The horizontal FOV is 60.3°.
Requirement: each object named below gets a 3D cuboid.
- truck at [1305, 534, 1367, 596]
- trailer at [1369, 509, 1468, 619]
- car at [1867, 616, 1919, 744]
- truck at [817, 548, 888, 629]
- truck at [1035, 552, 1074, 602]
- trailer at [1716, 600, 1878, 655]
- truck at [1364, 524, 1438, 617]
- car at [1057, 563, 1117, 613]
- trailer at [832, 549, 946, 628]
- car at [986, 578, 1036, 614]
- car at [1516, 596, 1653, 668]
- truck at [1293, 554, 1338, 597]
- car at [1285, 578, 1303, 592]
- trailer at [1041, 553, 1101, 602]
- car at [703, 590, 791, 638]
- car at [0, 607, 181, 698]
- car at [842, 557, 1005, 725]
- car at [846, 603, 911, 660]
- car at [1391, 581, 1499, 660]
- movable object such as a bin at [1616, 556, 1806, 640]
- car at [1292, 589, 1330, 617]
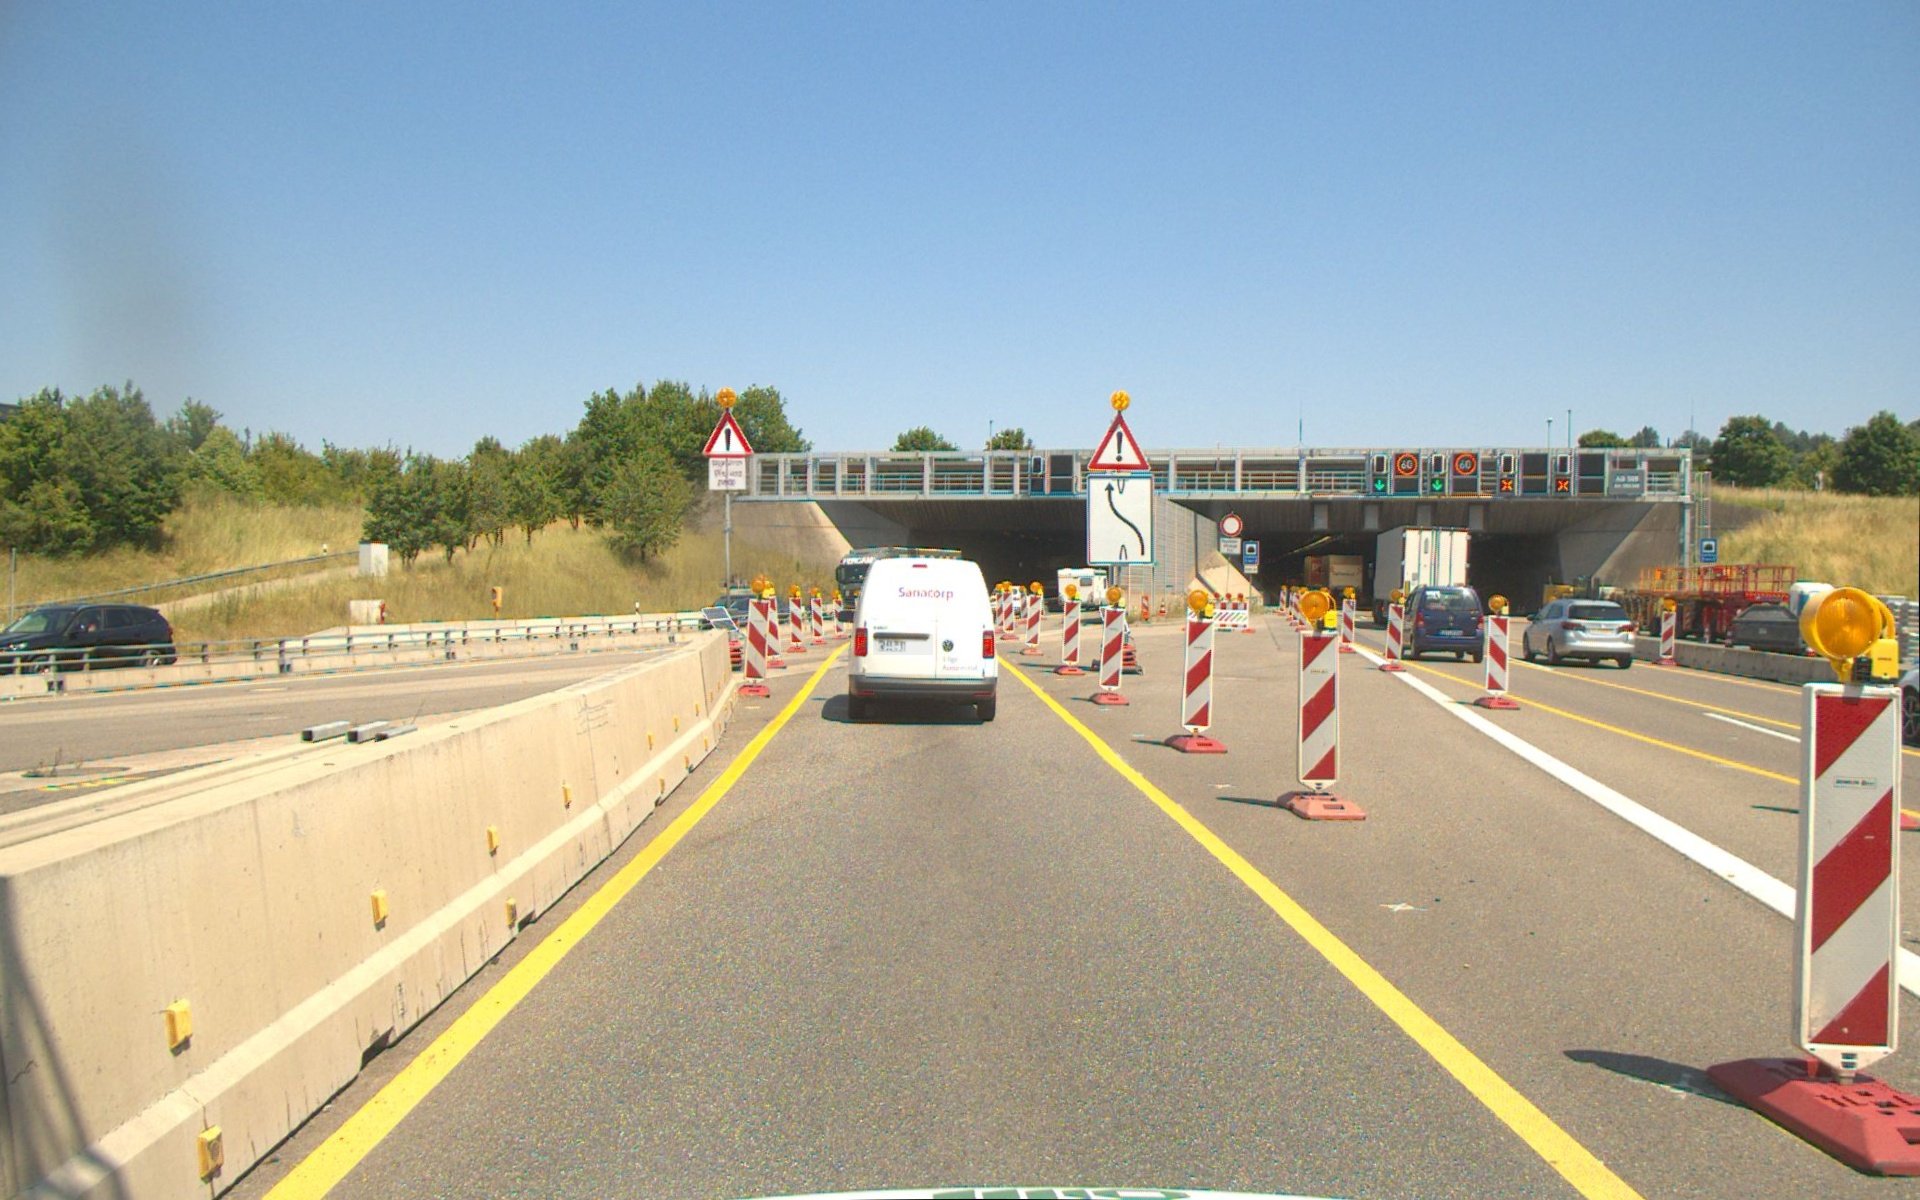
[{"bbox_3d":[30.467,-2.697,134.643,3.329,4.411,16.548,2,-1,8],"label":"truck"},{"bbox_3d":[19.264,-1.360,70.300,2.674,4.133,14.107,2,0,10],"label":"trailer"},{"bbox_3d":[12.037,0.954,18.220,1.777,1.490,4.654,3,-1,4],"label":"car"},{"bbox_3d":[-5.907,-0.646,91.439,2.380,4.344,4.841,0,0,17],"label":"truck"},{"bbox_3d":[8.130,-1.932,141.794,2.285,4.180,5.020,0,0,17],"label":"truck"},{"bbox_3d":[27.354,0.854,54.363,2.540,1.596,6.239,-1,0,4],"label":"trailer"},{"bbox_3d":[20.521,-1.323,77.196,2.686,4.103,5.931,2,0,10],"label":"truck"},{"bbox_3d":[7.866,-0.681,101.740,2.754,2.822,7.107,1,-1,11],"label":"car"},{"bbox_3d":[-3.985,-0.668,97.941,2.384,4.372,13.818,0,0,17],"label":"trailer"},{"bbox_3d":[2.579,-0.206,83.169,1.770,1.781,4.413,0,0,12],"label":"car"},{"bbox_3d":[14.319,0.698,38.161,1.776,1.490,4.655,2,0,6],"label":"car"},{"bbox_3d":[37.184,-2.445,173.654,3.329,4.142,16.549,2,0,8],"label":"truck"},{"bbox_3d":[49.348,-2.177,244.642,2.282,1.870,4.547,2,0,8],"label":"car"},{"bbox_3d":[10.049,-1.976,147.972,2.288,4.174,13.268,0,0,17],"label":"trailer"},{"bbox_3d":[-8.140,0.505,63.573,1.661,1.760,4.453,0,0,17],"label":"car"},{"bbox_3d":[-17.829,0.995,33.108,1.680,1.652,4.172,0,0,17],"label":"car"},{"bbox_3d":[-0.423,0.442,19.890,1.772,1.825,3.730,0,0,-1],"label":"car"},{"bbox_3d":[-2.424,0.877,48.274,1.773,1.564,4.405,0,0,-4],"label":"car"},{"bbox_3d":[11.227,0.459,38.585,1.776,1.671,4.656,2,0,9],"label":"car"},{"bbox_3d":[30.738,-0.083,68.620,3.045,3.063,14.713,-1,0,8],"label":"movable object such as a bin"},{"bbox_3d":[21.683,0.186,102.371,1.777,1.658,4.192,2,0,5],"label":"car"}]
